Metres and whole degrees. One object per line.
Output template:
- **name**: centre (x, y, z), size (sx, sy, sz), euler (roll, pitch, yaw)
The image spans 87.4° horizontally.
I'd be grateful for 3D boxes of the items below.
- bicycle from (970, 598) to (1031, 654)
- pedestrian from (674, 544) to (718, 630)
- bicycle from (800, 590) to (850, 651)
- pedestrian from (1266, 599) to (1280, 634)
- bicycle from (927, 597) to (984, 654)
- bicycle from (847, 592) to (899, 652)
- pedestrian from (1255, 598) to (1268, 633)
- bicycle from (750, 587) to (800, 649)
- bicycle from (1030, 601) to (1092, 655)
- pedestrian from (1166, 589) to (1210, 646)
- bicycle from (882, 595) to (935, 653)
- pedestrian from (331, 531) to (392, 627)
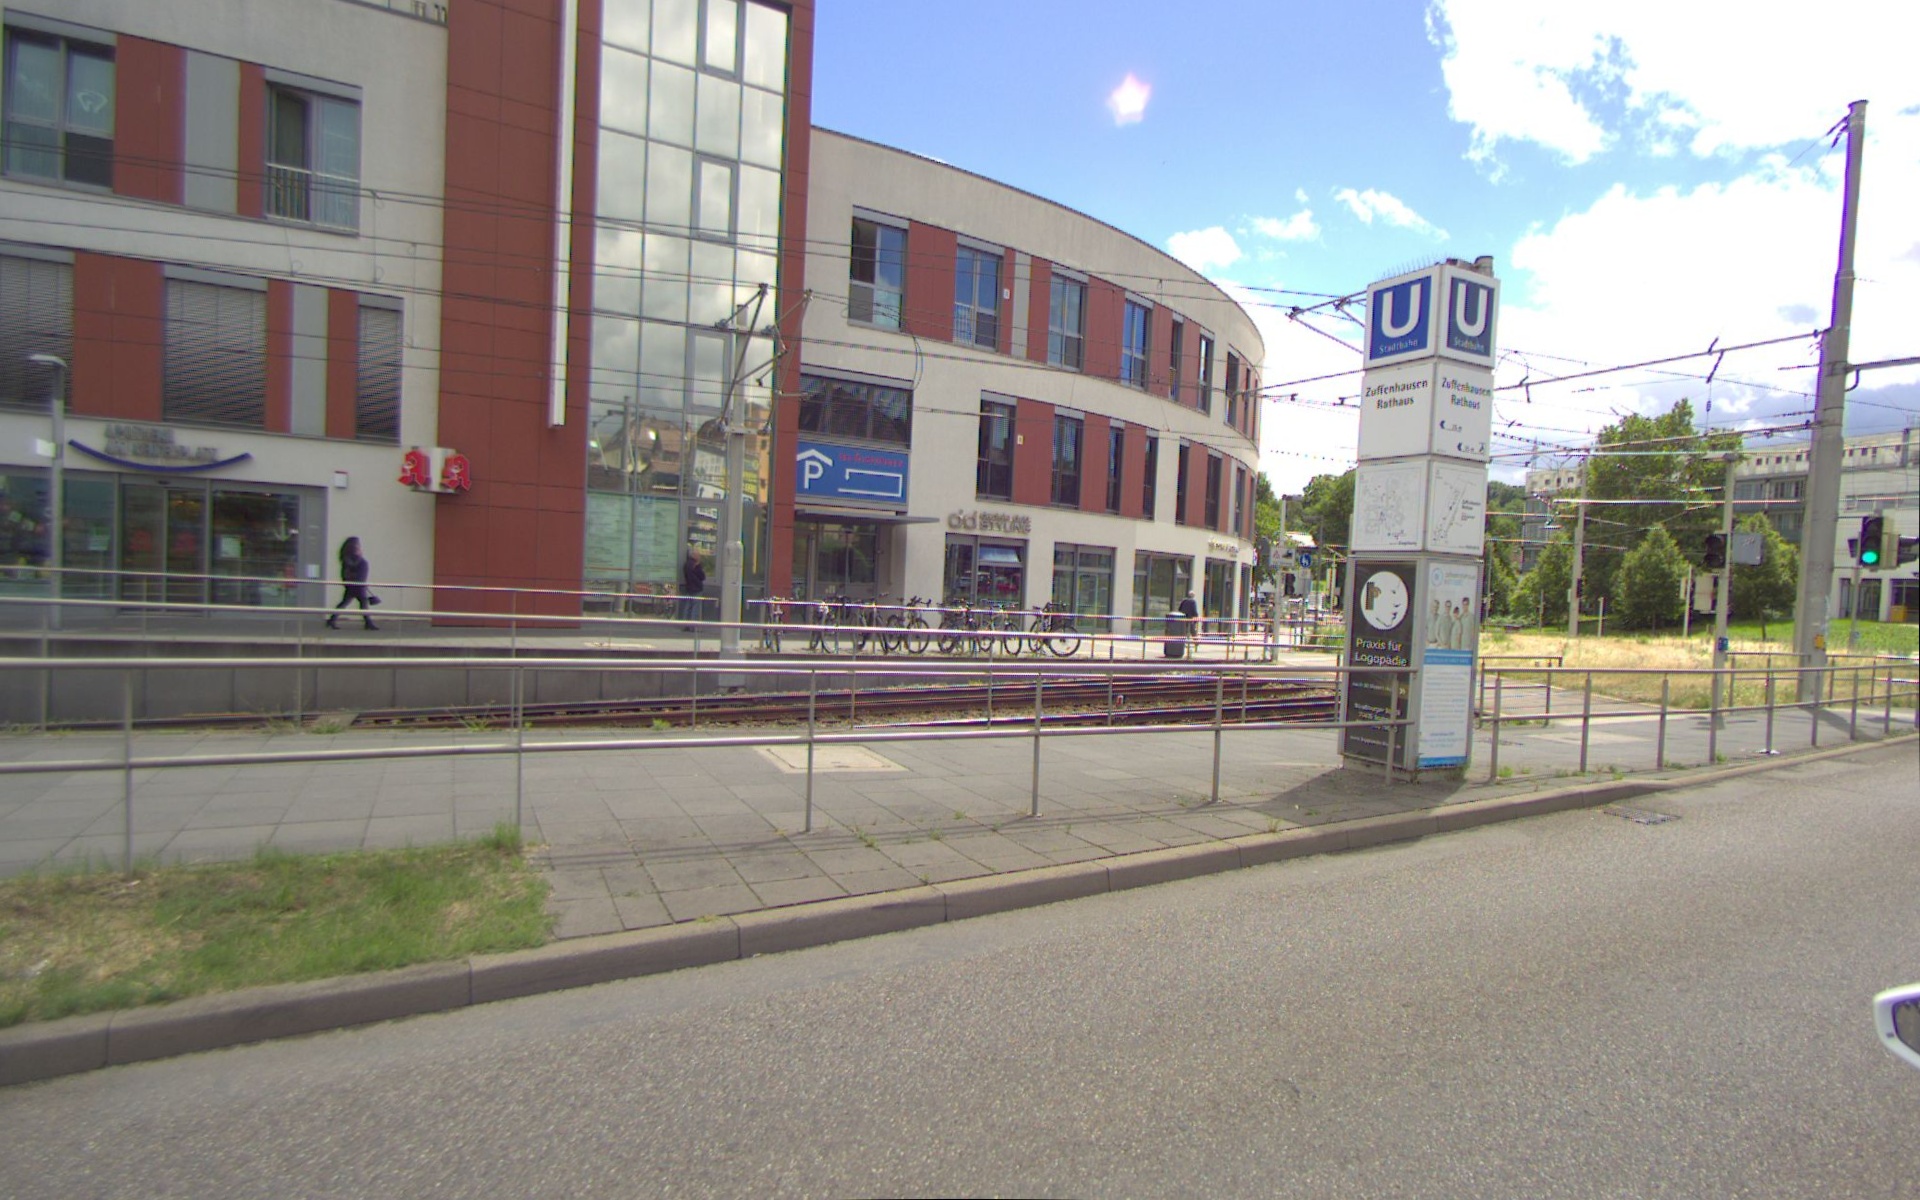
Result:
- **bicycle**: centre (0.845, 0.530, 21.241), size (0.508, 1.115, 1.559), euler (3, -1, -29)
- **pedestrian**: centre (-6.001, -0.306, 22.791), size (0.730, 1.876, 0.654), euler (3, 3, -27)
- **bicycle**: centre (-2.616, 0.368, 19.341), size (0.403, 1.115, 1.501), euler (3, -1, -29)
- **pedestrian**: centre (14.458, 0.759, 46.365), size (0.459, 1.551, 0.406), euler (5, 2, 16)
- **bicycle**: centre (-0.107, 0.507, 20.838), size (0.487, 1.115, 1.501), euler (3, -1, -29)
- **bicycle**: centre (-1.740, 0.422, 19.829), size (0.403, 1.115, 1.501), euler (3, -1, -29)
- **pedestrian**: centre (13.952, 0.704, 46.459), size (0.459, 1.551, 0.458), euler (5, 2, 16)
- **bicycle**: centre (-3.497, 0.322, 18.907), size (0.403, 1.115, 1.559), euler (3, -1, -29)
- **bicycle**: centre (2.195, 0.591, 21.961), size (0.508, 1.115, 1.559), euler (3, -1, -29)
- **pedestrian**: centre (6.728, 0.512, 29.640), size (0.855, 1.592, 0.843), euler (2, 3, -44)
- **bicycle**: centre (-1.049, 0.465, 20.205), size (0.403, 1.115, 1.501), euler (3, -1, -29)
- **pedestrian**: centre (-10.900, -0.386, 18.306), size (0.832, 1.671, 0.653), euler (3, 3, -27)
